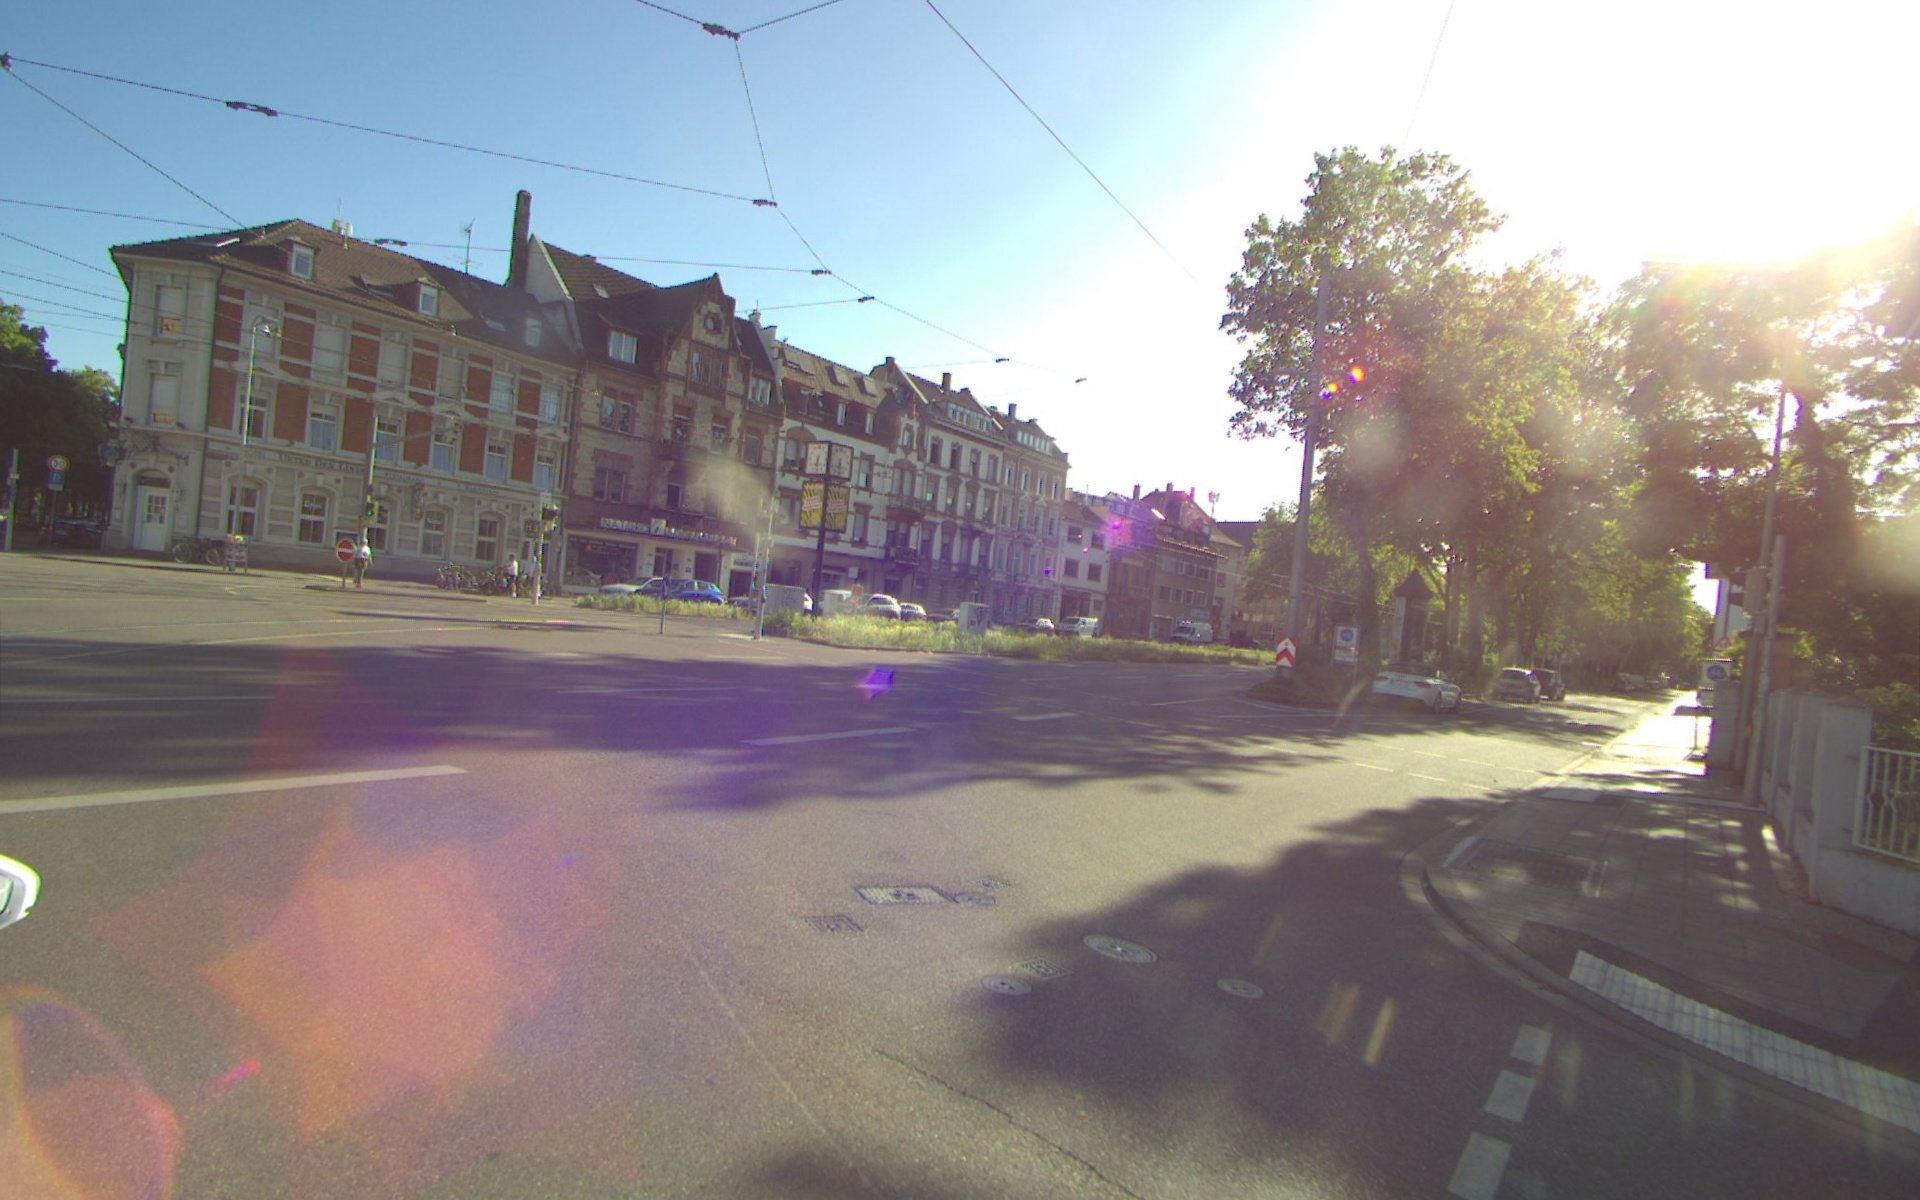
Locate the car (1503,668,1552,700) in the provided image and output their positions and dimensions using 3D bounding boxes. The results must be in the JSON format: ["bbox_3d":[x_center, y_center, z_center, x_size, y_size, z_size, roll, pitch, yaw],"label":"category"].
[{"bbox_3d":[31.120,4.575,55.072,1.888,1.471,4.490,6,0,34],"label":"car"}]

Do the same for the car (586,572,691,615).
[{"bbox_3d":[-14.006,-0.271,44.030,1.817,1.429,3.986,6,0,36],"label":"car"}]

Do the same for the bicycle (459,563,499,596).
[{"bbox_3d":[-20.505,-0.871,42.909,1.938,1.206,0.676,6,1,38],"label":"bicycle"}]

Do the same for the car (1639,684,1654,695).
[{"bbox_3d":[120.093,15.679,176.060,1.888,1.625,4.490,6,0,34],"label":"car"}]

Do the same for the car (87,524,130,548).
[{"bbox_3d":[-63.294,-4.744,74.845,1.981,1.516,3.995,6,0,-35],"label":"car"}]

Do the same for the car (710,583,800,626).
[{"bbox_3d":[-10.041,0.249,49.493,1.925,1.688,3.986,6,0,36],"label":"car"}]

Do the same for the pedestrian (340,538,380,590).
[{"bbox_3d":[-20.954,-1.256,35.132,0.923,1.690,0.716,6,1,30],"label":"pedestrian"}]

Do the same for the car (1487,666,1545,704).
[{"bbox_3d":[26.138,3.961,47.211,1.888,1.471,4.490,6,0,34],"label":"car"}]

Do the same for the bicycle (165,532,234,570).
[{"bbox_3d":[-28.861,-1.853,38.218,0.539,1.205,1.957,7,0,42],"label":"bicycle"}]

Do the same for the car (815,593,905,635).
[{"bbox_3d":[-5.023,0.733,51.096,1.925,1.688,4.471,6,0,36],"label":"car"}]

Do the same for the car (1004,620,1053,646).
[{"bbox_3d":[5.397,2.582,78.866,1.925,1.688,3.986,6,0,36],"label":"car"}]

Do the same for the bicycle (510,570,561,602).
[{"bbox_3d":[-18.346,-0.604,43.526,0.592,1.205,1.962,6,0,32],"label":"bicycle"}]

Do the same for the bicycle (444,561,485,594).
[{"bbox_3d":[-20.888,-0.963,42.386,1.938,1.206,0.676,6,1,38],"label":"bicycle"}]

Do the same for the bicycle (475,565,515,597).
[{"bbox_3d":[-20.096,-0.832,43.446,1.938,1.206,0.676,6,1,38],"label":"bicycle"}]

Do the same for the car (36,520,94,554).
[{"bbox_3d":[-48.008,-3.421,54.040,1.983,1.516,3.991,6,0,-38],"label":"car"}]

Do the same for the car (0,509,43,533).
[{"bbox_3d":[-72.985,-6.132,76.689,3.945,1.565,1.990,6,0,-23],"label":"car"}]

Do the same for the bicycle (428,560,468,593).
[{"bbox_3d":[-21.287,-0.992,41.808,1.938,1.206,0.676,6,1,38],"label":"bicycle"}]

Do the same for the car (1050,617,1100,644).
[{"bbox_3d":[9.677,2.564,84.363,1.925,1.885,4.786,6,0,36],"label":"car"}]

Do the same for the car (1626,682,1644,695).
[{"bbox_3d":[94.036,12.297,140.106,1.888,1.625,4.490,6,0,34],"label":"car"}]

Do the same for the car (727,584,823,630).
[{"bbox_3d":[-8.472,0.357,46.345,1.925,1.688,3.986,6,0,36],"label":"car"}]

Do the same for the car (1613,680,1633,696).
[{"bbox_3d":[79.420,10.513,120.500,1.888,1.625,4.490,6,0,34],"label":"car"}]

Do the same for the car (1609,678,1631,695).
[{"bbox_3d":[74.180,9.722,113.051,1.888,1.625,4.490,6,0,34],"label":"car"}]

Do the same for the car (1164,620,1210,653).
[{"bbox_3d":[23.314,3.803,102.952,2.169,2.945,5.938,6,0,36],"label":"car"}]

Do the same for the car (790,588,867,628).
[{"bbox_3d":[-7.861,0.492,60.325,1.925,1.989,4.403,6,0,36],"label":"car"}]

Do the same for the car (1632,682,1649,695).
[{"bbox_3d":[101.898,13.208,150.731,1.888,1.625,4.490,6,0,34],"label":"car"}]

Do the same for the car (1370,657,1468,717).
[{"bbox_3d":[13.939,2.599,30.429,1.888,1.471,4.490,6,0,34],"label":"car"}]

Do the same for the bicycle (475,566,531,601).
[{"bbox_3d":[-18.825,-0.671,41.460,0.593,1.205,1.958,7,0,39],"label":"bicycle"}]

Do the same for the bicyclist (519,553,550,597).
[{"bbox_3d":[-18.353,-1.084,43.420,0.592,1.786,0.903,6,1,33],"label":"bicyclist"}]

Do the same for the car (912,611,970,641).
[{"bbox_3d":[-1.293,1.803,69.946,1.925,1.688,3.986,6,0,36],"label":"car"}]

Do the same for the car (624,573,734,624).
[{"bbox_3d":[-11.725,-0.040,42.170,1.925,1.688,3.986,6,0,36],"label":"car"}]

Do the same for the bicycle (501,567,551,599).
[{"bbox_3d":[-19.044,-0.748,44.202,0.667,1.205,1.965,6,0,25],"label":"bicycle"}]

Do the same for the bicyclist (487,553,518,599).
[{"bbox_3d":[-18.832,-0.992,41.406,0.593,1.786,0.871,7,1,40],"label":"bicyclist"}]
